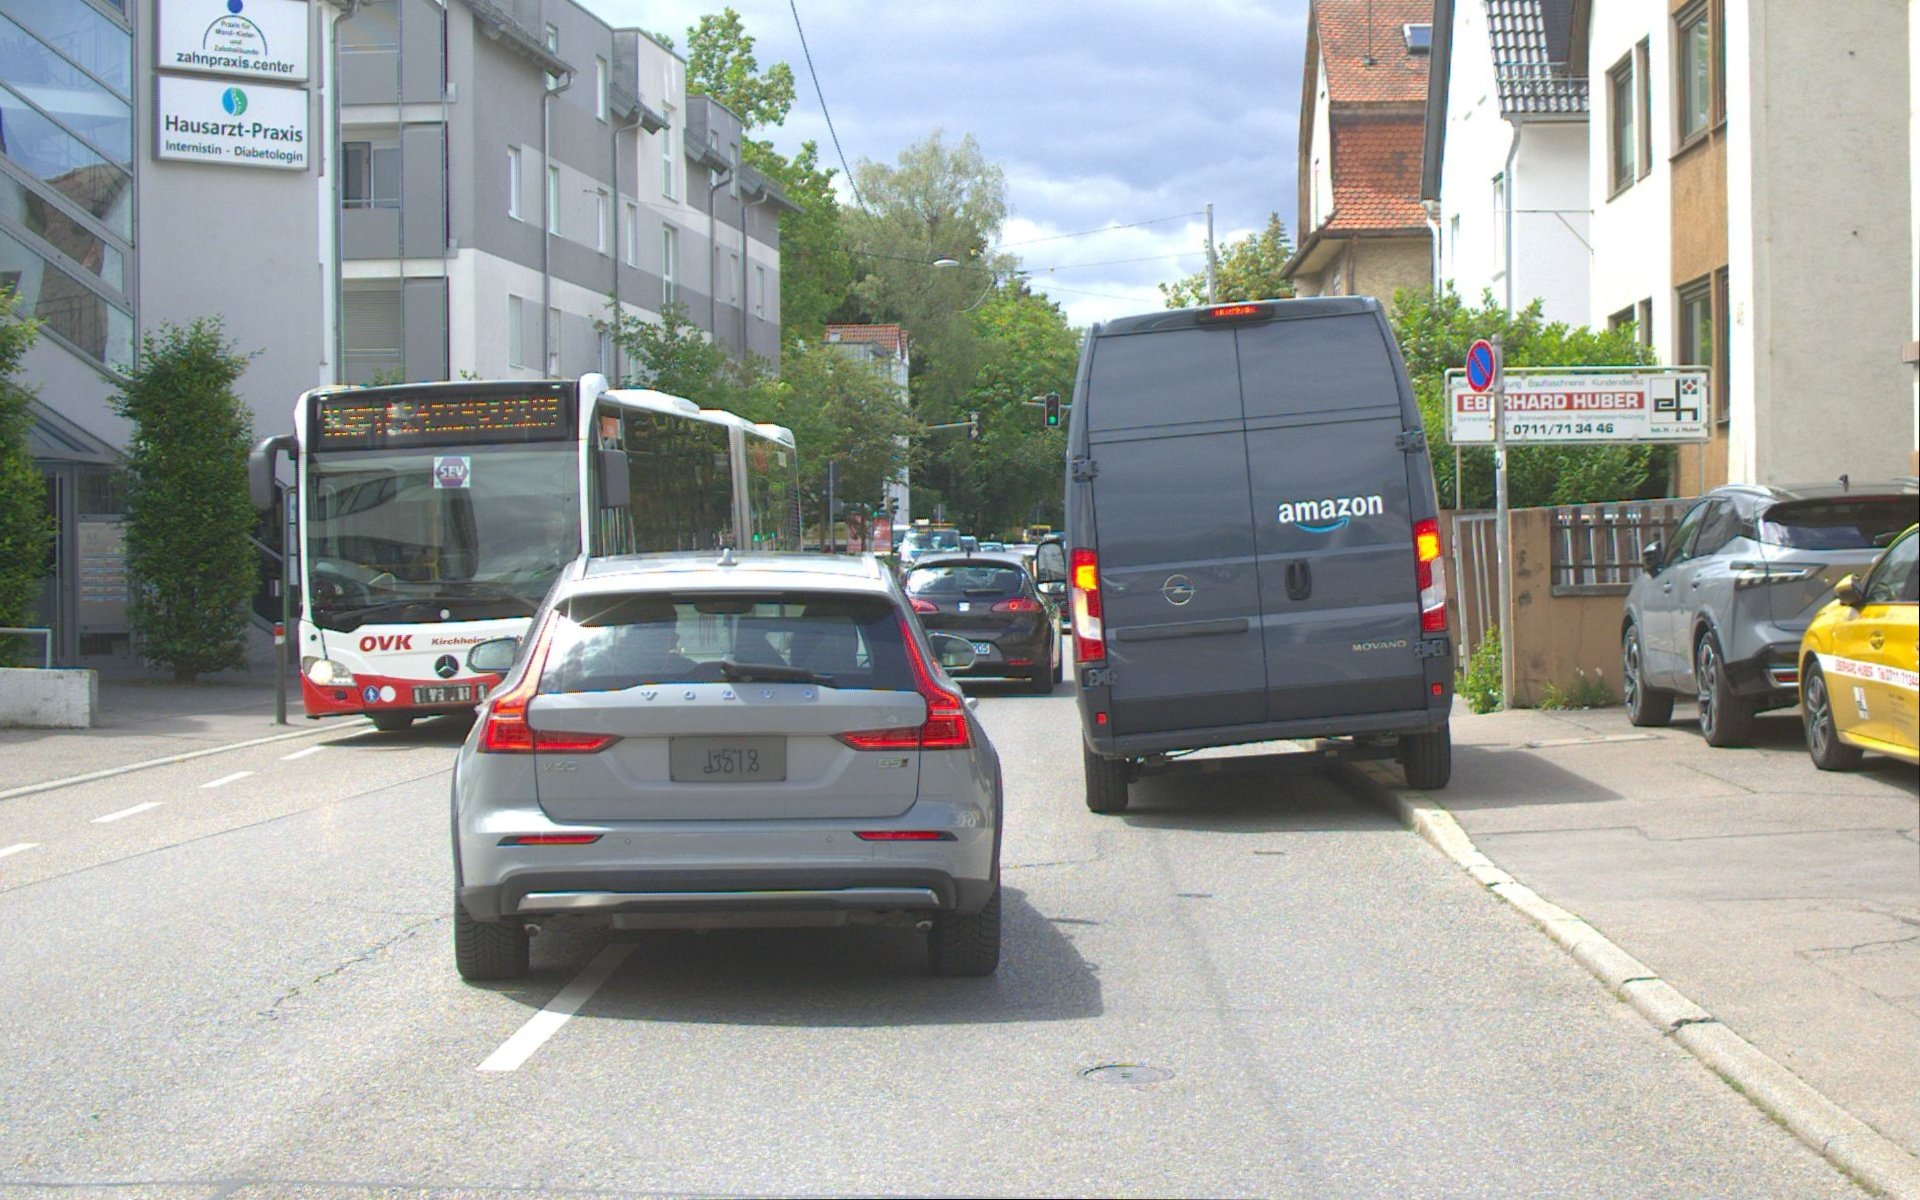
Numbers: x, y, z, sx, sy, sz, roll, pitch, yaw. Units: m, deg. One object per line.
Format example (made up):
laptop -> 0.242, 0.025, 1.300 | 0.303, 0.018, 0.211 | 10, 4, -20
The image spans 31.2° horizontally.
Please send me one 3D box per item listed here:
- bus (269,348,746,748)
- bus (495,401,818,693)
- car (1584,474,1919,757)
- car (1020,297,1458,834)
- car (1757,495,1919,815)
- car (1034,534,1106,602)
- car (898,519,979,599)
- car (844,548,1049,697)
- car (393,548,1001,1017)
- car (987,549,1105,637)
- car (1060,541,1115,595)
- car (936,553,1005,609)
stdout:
bus -> -3.934, -0.488, 32.553 | 2.682, 3.153, 10.184 | -1, 1, 3
bus -> -3.494, -0.639, 41.668 | 2.716, 3.153, 8.068 | -1, 1, 3
car -> 5.387, 0.037, 22.321 | 1.860, 1.606, 4.586 | -2, 1, 1
car -> 1.653, -0.217, 20.788 | 2.253, 2.786, 5.568 | -1, 1, 4
car -> 5.525, 0.238, 17.527 | 1.877, 1.442, 4.308 | -1, 3, 0
car -> 3.281, -0.969, 103.363 | 1.993, 2.007, 4.000 | 0, 1, 0
car -> -0.573, -1.169, 96.965 | 2.105, 2.114, 4.765 | -3, 1, 1
car -> -0.088, 0.192, 35.966 | 1.896, 1.441, 3.968 | 1, 1, 3
car -> -0.886, 0.546, 12.781 | 1.896, 1.448, 3.969 | 0, 1, -2
car -> 1.515, -0.147, 59.247 | 1.896, 1.441, 3.968 | 0, 1, 3
car -> 4.863, -1.222, 130.667 | 1.994, 2.007, 4.000 | 0, 1, 3
car -> 0.352, -0.632, 109.370 | 2.105, 1.704, 4.765 | -1, 1, 1
